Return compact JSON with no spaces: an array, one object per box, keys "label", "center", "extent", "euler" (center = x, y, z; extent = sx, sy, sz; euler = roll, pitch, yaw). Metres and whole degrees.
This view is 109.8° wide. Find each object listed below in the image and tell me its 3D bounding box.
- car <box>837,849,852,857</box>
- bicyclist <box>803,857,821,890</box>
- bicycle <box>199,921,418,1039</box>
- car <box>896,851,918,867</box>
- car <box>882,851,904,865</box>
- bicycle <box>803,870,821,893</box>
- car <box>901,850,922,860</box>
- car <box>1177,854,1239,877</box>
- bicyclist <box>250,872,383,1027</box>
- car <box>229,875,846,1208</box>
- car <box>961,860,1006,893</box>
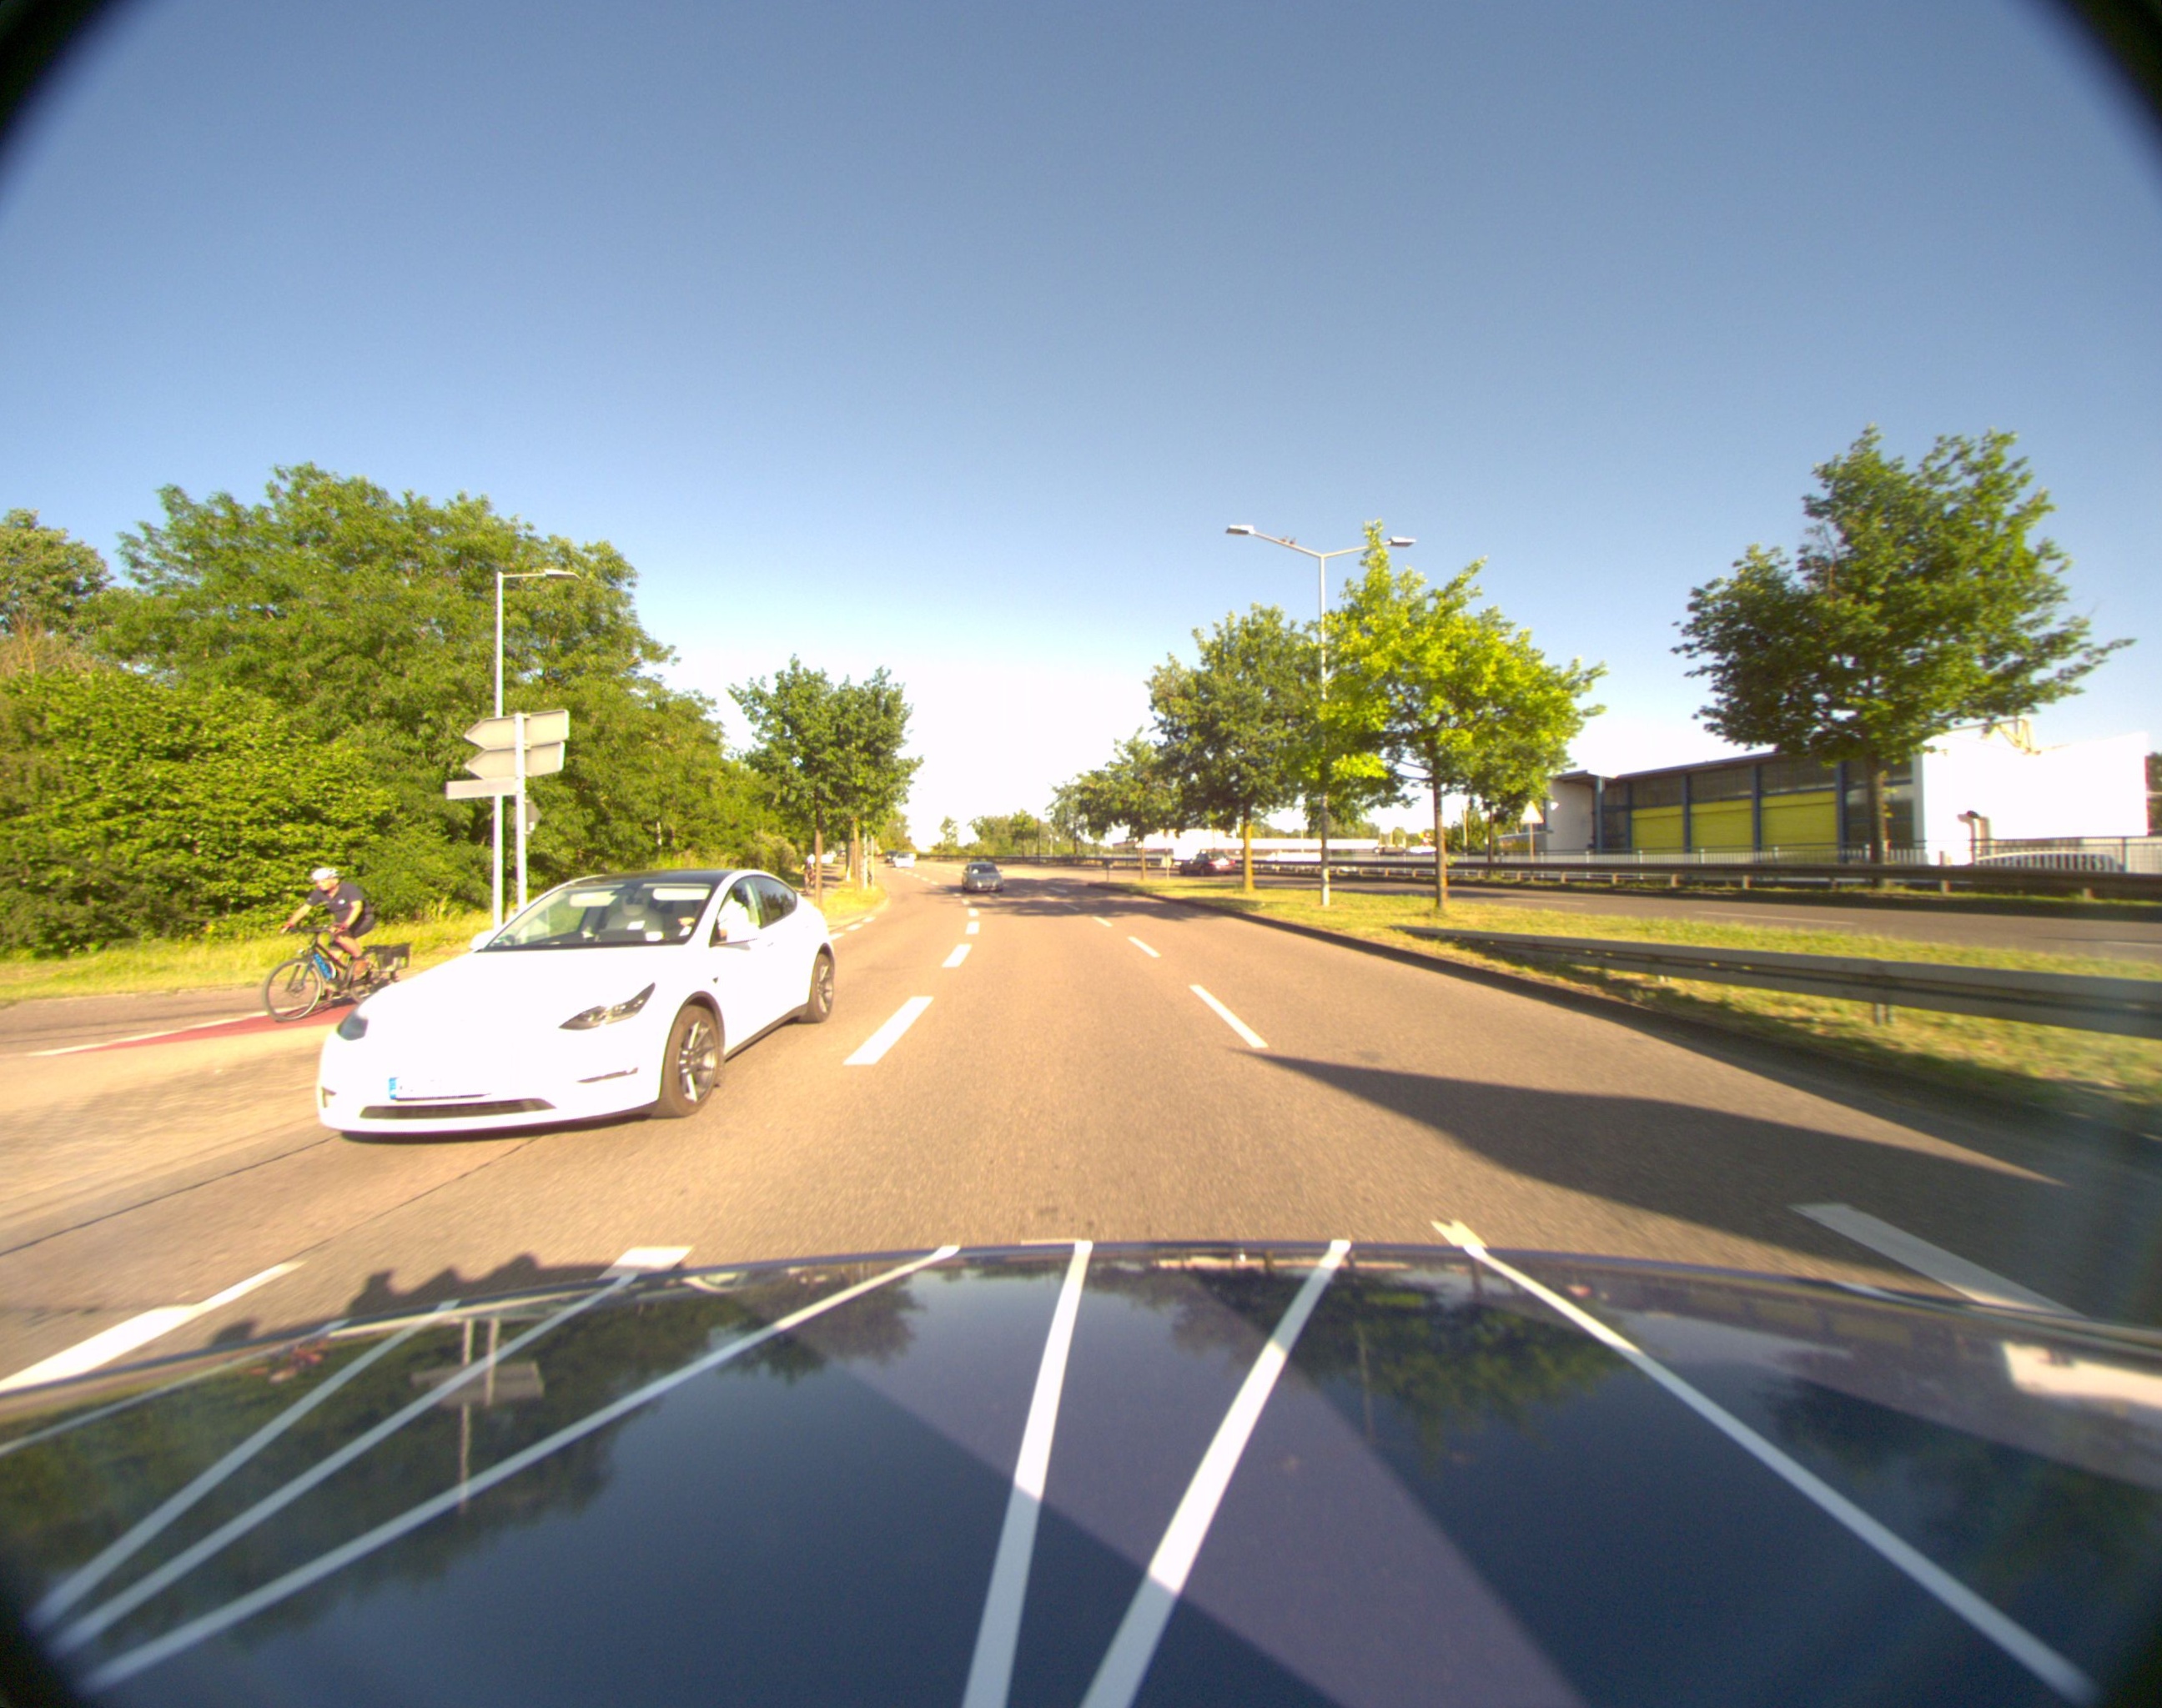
[{"label":"car","center":[-47.397,-0.256,152.278],"extent":[1.770,1.480,4.266],"euler":[-2,1,-31]},{"label":"bicyclist","center":[-13.089,0.918,37.021],"extent":[0.710,1.569,1.003],"euler":[1,0,-16]},{"label":"bicycle","center":[-9.311,1.463,9.316],"extent":[0.697,1.089,2.116],"euler":[1,0,-7]},{"label":"car","center":[-18.432,0.509,80.524],"extent":[2.153,1.558,4.193],"euler":[2,-1,-14]},{"label":"car","center":[-23.665,0.531,95.733],"extent":[2.002,1.706,4.264],"euler":[-1,0,-23]},{"label":"bicycle","center":[-13.108,1.336,37.047],"extent":[0.703,1.068,1.918],"euler":[1,0,-16]},{"label":"car","center":[-24.964,0.182,111.821],"extent":[1.738,1.377,4.485],"euler":[-2,1,-31]},{"label":"car","center":[7.744,0.688,46.718],"extent":[1.807,1.302,4.608],"euler":[-2,0,-18]},{"label":"bicyclist","center":[-9.308,1.123,9.292],"extent":[0.677,1.766,0.947],"euler":[1,0,-7]},{"label":"car","center":[-3.533,1.072,6.192],"extent":[1.919,1.630,4.411],"euler":[-3,-2,-2]},{"label":"car","center":[-4.952,1.105,38.281],"extent":[1.685,1.433,3.853],"euler":[-3,1,-15]}]
